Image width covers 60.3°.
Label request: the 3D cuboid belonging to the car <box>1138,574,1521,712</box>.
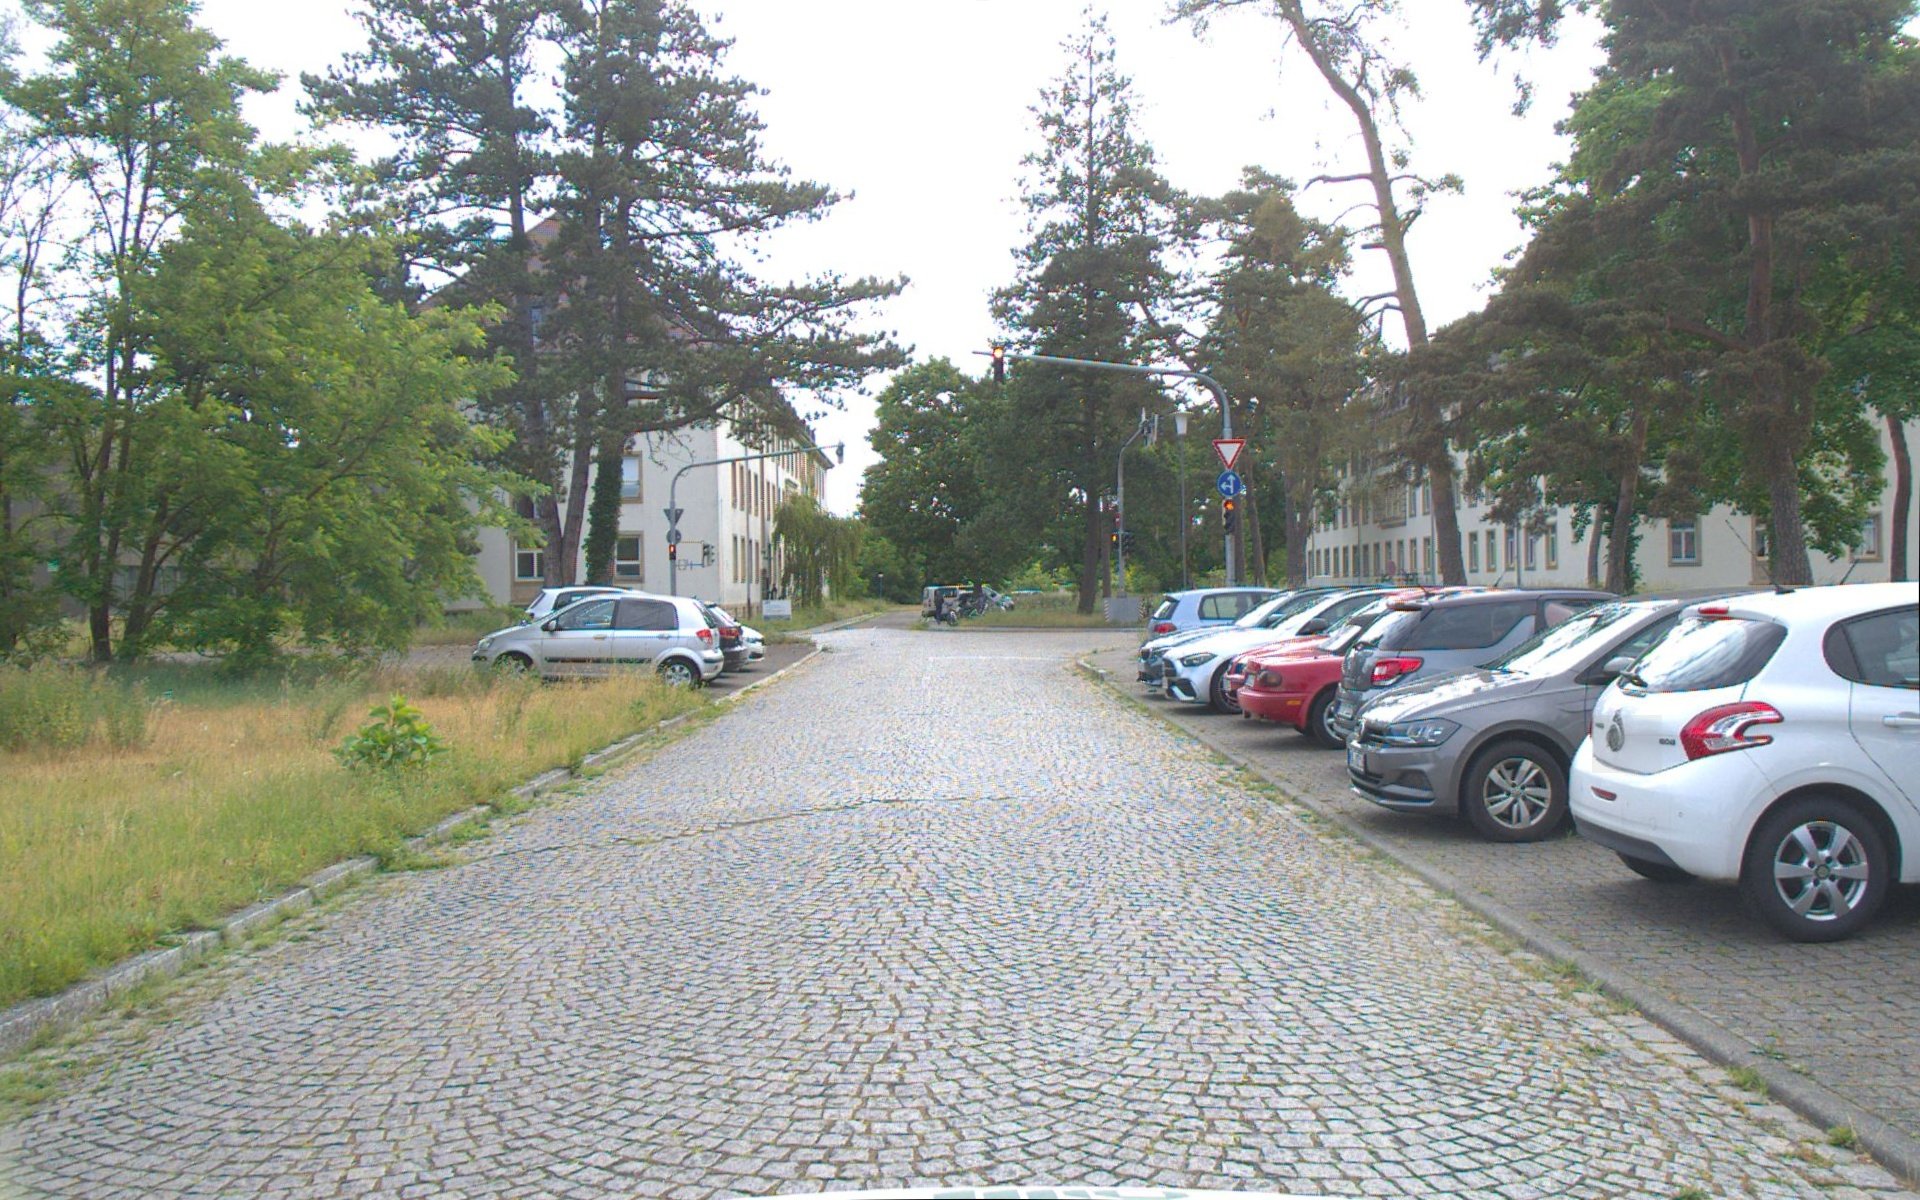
[{"bbox_3d":[4.630,0.513,21.012,4.341,1.441,1.867,-3,0,-10],"label":"car"}]

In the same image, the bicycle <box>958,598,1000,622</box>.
[{"bbox_3d":[0.914,0.481,79.767,1.930,1.088,0.583,-1,0,-26],"label":"bicycle"}]

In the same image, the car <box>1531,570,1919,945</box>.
[{"bbox_3d":[4.952,0.606,7.906,3.785,1.497,1.757,-3,0,-2],"label":"car"}]

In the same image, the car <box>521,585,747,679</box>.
[{"bbox_3d":[-5.961,0.580,30.587,3.869,1.590,1.649,2,0,-4],"label":"car"}]

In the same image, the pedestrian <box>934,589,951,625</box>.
[{"bbox_3d":[-0.794,0.303,76.733,0.723,1.647,0.776,-1,0,1],"label":"pedestrian"}]

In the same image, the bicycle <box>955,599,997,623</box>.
[{"bbox_3d":[0.766,0.502,77.061,1.935,1.088,0.582,-1,0,-31],"label":"bicycle"}]

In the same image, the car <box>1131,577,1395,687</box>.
[{"bbox_3d":[4.721,0.489,26.152,3.846,1.503,1.642,-3,0,1],"label":"car"}]

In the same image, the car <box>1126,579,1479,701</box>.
[{"bbox_3d":[4.819,0.539,23.702,4.588,1.441,1.870,-3,0,-3],"label":"car"}]

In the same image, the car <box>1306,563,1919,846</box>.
[{"bbox_3d":[4.380,0.604,10.758,3.787,1.497,1.756,-3,0,-5],"label":"car"}]

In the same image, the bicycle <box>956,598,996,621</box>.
[{"bbox_3d":[0.789,0.477,82.098,1.930,1.088,0.583,-1,0,-26],"label":"bicycle"}]

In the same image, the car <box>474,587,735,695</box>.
[{"bbox_3d":[-5.348,0.607,25.218,3.629,1.505,1.581,2,0,-4],"label":"car"}]

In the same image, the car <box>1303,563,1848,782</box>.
[{"bbox_3d":[4.942,0.549,13.637,3.785,1.497,1.757,-3,0,-2],"label":"car"}]

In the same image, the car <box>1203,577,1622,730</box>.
[{"bbox_3d":[5.016,0.566,18.749,4.175,1.441,1.871,-3,0,-1],"label":"car"}]

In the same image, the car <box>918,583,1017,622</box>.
[{"bbox_3d":[0.410,0.143,93.025,5.263,1.958,2.020,-2,0,-10],"label":"car"}]

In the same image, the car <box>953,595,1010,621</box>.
[{"bbox_3d":[1.152,0.421,89.653,2.948,1.290,1.533,-1,0,-7],"label":"car"}]

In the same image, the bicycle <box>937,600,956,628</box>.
[{"bbox_3d":[-0.592,0.593,71.731,0.591,1.152,1.959,-1,0,-6],"label":"bicycle"}]

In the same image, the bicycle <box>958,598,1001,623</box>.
[{"bbox_3d":[0.884,0.480,75.579,1.918,1.136,0.587,-1,0,-8],"label":"bicycle"}]

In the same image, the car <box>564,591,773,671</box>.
[{"bbox_3d":[-5.789,0.611,33.131,3.868,1.446,1.650,2,0,-1],"label":"car"}]

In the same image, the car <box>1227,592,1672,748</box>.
[{"bbox_3d":[4.691,0.642,16.210,3.785,1.257,1.757,-3,0,-2],"label":"car"}]

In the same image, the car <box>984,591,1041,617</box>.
[{"bbox_3d":[3.053,0.204,96.939,3.168,1.441,1.724,-1,0,-3],"label":"car"}]

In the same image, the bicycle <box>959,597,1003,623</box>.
[{"bbox_3d":[0.952,0.457,74.947,1.918,1.152,0.587,-1,0,-8],"label":"bicycle"}]

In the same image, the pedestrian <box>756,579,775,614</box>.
[{"bbox_3d":[-10.647,-0.192,90.538,0.766,1.869,0.733,-1,0,-32],"label":"pedestrian"}]

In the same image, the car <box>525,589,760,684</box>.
[{"bbox_3d":[-5.276,0.601,27.816,3.672,1.453,1.581,2,0,-4],"label":"car"}]

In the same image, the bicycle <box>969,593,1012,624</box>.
[{"bbox_3d":[1.405,0.388,76.417,1.918,1.408,0.587,-1,0,-8],"label":"bicycle"}]

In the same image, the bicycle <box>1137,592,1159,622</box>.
[{"bbox_3d":[7.134,0.254,62.916,0.574,1.125,1.961,-1,0,-1],"label":"bicycle"}]
